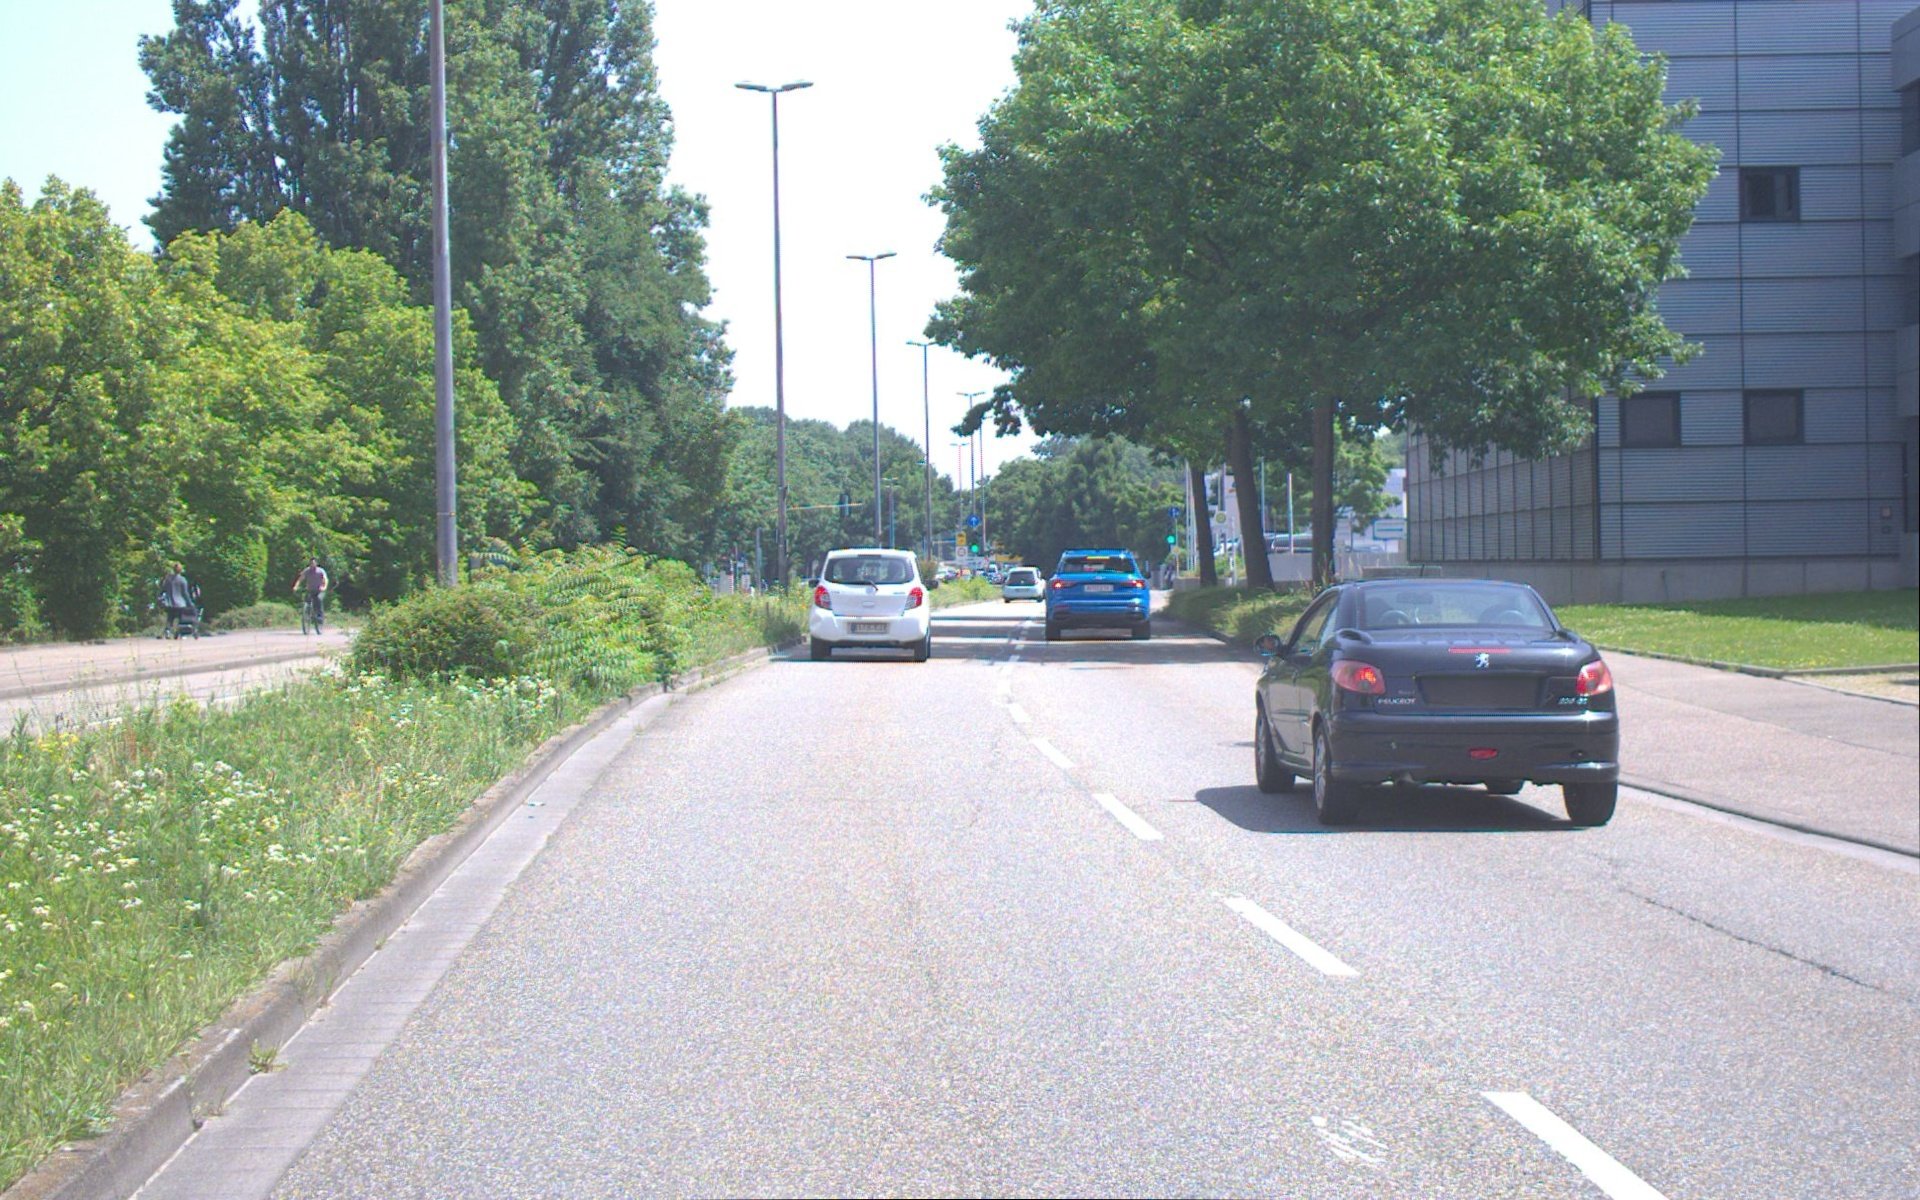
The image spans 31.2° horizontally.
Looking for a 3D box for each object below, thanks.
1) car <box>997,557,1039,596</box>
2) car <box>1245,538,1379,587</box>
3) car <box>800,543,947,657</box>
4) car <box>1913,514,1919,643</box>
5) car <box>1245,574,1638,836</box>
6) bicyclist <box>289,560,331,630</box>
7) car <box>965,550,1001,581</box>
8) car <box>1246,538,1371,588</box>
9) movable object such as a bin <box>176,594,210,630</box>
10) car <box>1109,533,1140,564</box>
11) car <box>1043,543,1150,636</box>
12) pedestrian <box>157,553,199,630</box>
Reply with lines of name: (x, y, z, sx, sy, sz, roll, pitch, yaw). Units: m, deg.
car: (2.596, -1.063, 153.364, 1.819, 1.656, 4.000, -1, 1, 1)
car: (12.380, -1.304, 121.113, 4.499, 1.577, 2.000, -2, 0, 1)
car: (-1.169, -0.035, 47.880, 1.748, 1.515, 3.745, 0, 1, 3)
car: (11.138, -0.137, 32.245, 3.812, 1.586, 1.732, -3, 1, -2)
car: (2.724, 0.547, 20.164, 1.627, 1.359, 3.606, 0, 1, -3)
bicyclist: (-14.226, -0.119, 75.282, 0.717, 1.511, 1.027, -1, 0, -2)
car: (1.281, -1.938, 193.105, 1.819, 1.656, 4.001, -1, 1, -2)
car: (11.850, -1.249, 116.981, 3.986, 1.613, 2.000, -1, 1, -2)
movable object such as a bin: (-15.420, 0.239, 69.125, 0.428, 0.703, 0.652, -1, 0, 10)
car: (11.103, -3.474, 232.161, 1.769, 2.007, 3.991, -1, 1, -2)
car: (2.443, -0.207, 61.196, 1.828, 1.575, 3.605, -1, 1, 3)
pedestrian: (-15.794, -0.166, 69.472, 0.633, 1.539, 0.727, -1, 0, 1)
